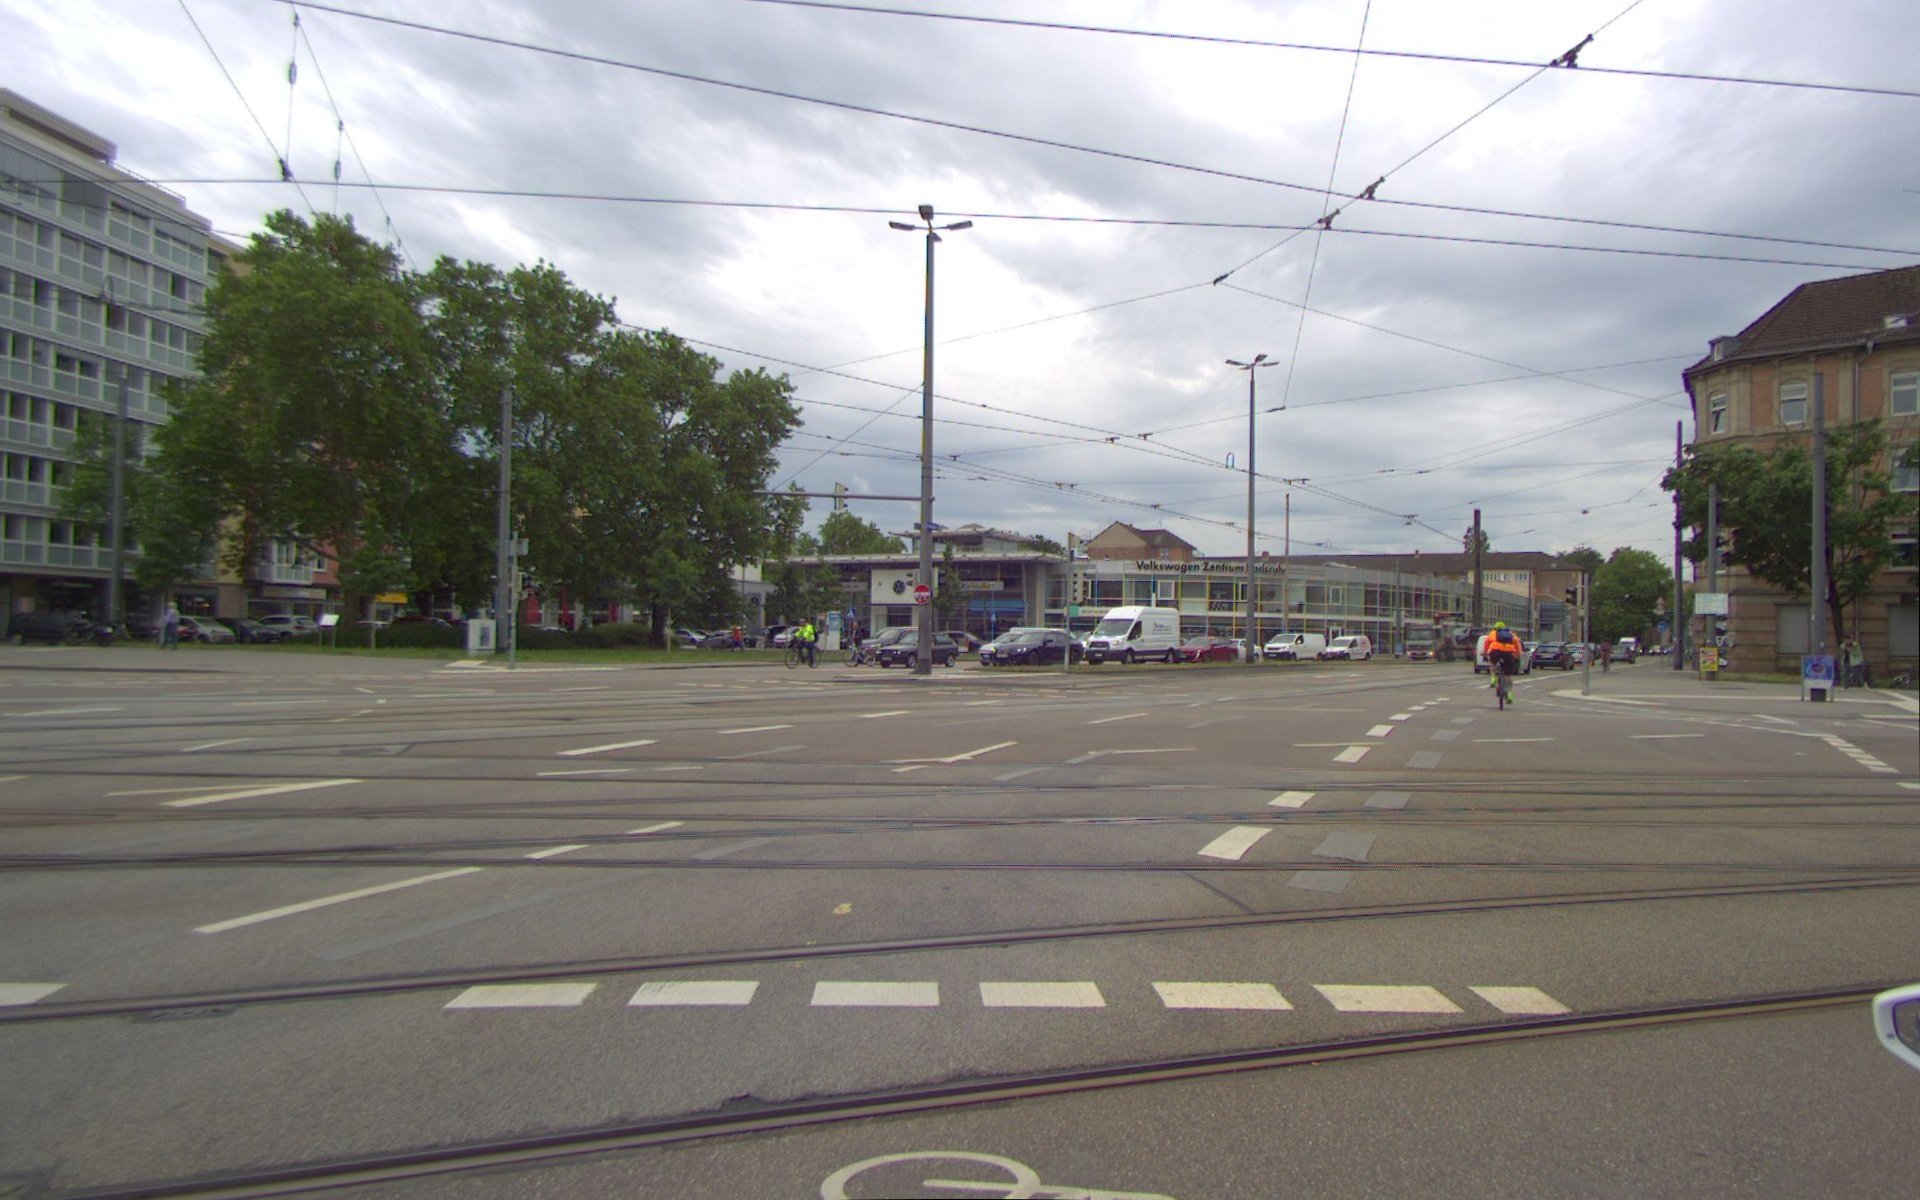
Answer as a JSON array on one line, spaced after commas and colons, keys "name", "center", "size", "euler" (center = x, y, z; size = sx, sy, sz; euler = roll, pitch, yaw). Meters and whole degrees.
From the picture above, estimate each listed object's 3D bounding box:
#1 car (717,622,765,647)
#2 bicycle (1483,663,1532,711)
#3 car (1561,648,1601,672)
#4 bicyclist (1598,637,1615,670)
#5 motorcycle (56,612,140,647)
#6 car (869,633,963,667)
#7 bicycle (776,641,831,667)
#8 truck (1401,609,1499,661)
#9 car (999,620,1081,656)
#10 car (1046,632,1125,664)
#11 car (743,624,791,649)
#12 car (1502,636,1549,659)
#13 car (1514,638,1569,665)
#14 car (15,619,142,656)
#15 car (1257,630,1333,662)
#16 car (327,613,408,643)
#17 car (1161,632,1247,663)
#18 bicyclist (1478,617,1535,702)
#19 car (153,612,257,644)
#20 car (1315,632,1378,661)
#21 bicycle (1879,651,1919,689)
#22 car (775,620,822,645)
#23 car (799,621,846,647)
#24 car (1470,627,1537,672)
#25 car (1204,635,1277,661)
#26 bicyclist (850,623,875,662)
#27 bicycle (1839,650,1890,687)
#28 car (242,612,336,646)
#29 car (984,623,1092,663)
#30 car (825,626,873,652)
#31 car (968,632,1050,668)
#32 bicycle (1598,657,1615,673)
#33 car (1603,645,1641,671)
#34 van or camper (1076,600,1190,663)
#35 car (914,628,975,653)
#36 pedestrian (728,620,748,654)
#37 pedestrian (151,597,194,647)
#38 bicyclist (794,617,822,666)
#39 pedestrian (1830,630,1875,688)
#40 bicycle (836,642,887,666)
[{"name": "car", "center": [-19.217, 3.068, 88.452], "size": [1.963, 2.040, 3.996], "euler": [2, -2, 27]}, {"name": "bicycle", "center": [11.028, 1.723, 20.281], "size": [0.547, 0.859, 2.074], "euler": [1, -2, 20]}, {"name": "car", "center": [43.662, 4.202, 70.615], "size": [1.831, 1.528, 3.982], "euler": [1, -2, 39]}, {"name": "bicyclist", "center": [34.639, 2.868, 53.792], "size": [0.677, 1.730, 0.797], "euler": [0, -2, 27]}, {"name": "motorcycle", "center": [-32.207, 1.091, 37.544], "size": [2.496, 1.194, 0.865], "euler": [2, -1, 7]}, {"name": "car", "center": [-1.671, 1.937, 39.227], "size": [1.666, 1.263, 3.722], "euler": [0, -2, 38]}, {"name": "bicycle", "center": [-5.882, 2.042, 37.950], "size": [0.513, 0.942, 2.210], "euler": [0, -2, 43]}, {"name": "truck", "center": [37.535, 2.694, 76.756], "size": [9.136, 3.596, 2.775], "euler": [3, -2, -36]}, {"name": "car", "center": [5.015, 2.401, 63.263], "size": [4.709, 2.040, 2.112], "euler": [1, -2, 40]}, {"name": "car", "center": [6.066, 2.300, 48.147], "size": [1.617, 1.439, 4.248], "euler": [0, -2, 41]}, {"name": "car", "center": [-16.708, 3.148, 87.037], "size": [1.963, 2.040, 3.996], "euler": [2, -2, 27]}, {"name": "car", "center": [47.591, 3.979, 84.495], "size": [4.485, 1.863, 1.977], "euler": [3, -2, -39]}, {"name": "car", "center": [33.030, 2.908, 57.000], "size": [1.971, 1.439, 3.980], "euler": [0, -2, 41]}, {"name": "car", "center": [-39.301, 1.667, 44.851], "size": [3.920, 1.572, 2.001], "euler": [1, -2, 3]}, {"name": "car", "center": [21.138, 2.893, 63.289], "size": [5.407, 1.881, 2.137], "euler": [3, -2, -42]}, {"name": "car", "center": [-37.847, 1.775, 64.255], "size": [3.920, 1.728, 2.001], "euler": [2, -1, 2]}, {"name": "car", "center": [12.221, 2.389, 50.191], "size": [4.770, 1.439, 1.974], "euler": [3, -2, -44]}, {"name": "bicyclist", "center": [11.061, 1.187, 20.356], "size": [0.813, 1.642, 1.322], "euler": [1, -2, 20]}, {"name": "car", "center": [-39.262, 1.446, 52.300], "size": [3.920, 1.572, 2.001], "euler": [1, -2, 3]}, {"name": "car", "center": [26.092, 3.138, 67.764], "size": [4.485, 1.863, 1.977], "euler": [3, -2, -39]}, {"name": "bicycle", "center": [36.545, 2.715, 38.845], "size": [3.093, 1.372, 0.950], "euler": [3, -2, -38]}, {"name": "car", "center": [-13.808, 2.820, 85.958], "size": [1.963, 2.040, 3.996], "euler": [2, -2, 27]}, {"name": "car", "center": [-11.565, 2.879, 84.895], "size": [1.963, 2.040, 3.996], "euler": [2, -2, 27]}, {"name": "car", "center": [25.094, 2.263, 46.344], "size": [1.890, 1.966, 4.111], "euler": [0, -2, 41]}, {"name": "car", "center": [16.549, 2.848, 59.156], "size": [4.715, 1.439, 1.976], "euler": [3, -2, -42]}, {"name": "bicyclist", "center": [-3.900, 1.677, 40.109], "size": [0.560, 1.528, 0.852], "euler": [0, -1, 43]}, {"name": "bicycle", "center": [35.763, 2.705, 39.690], "size": [3.093, 1.372, 0.950], "euler": [3, -2, -38]}, {"name": "car", "center": [-37.656, 1.609, 56.424], "size": [3.920, 1.728, 2.001], "euler": [2, -1, 2]}, {"name": "car", "center": [3.135, 1.673, 39.450], "size": [1.969, 1.439, 4.643], "euler": [0, -2, 38]}, {"name": "car", "center": [-9.197, 3.251, 83.389], "size": [1.963, 2.040, 3.996], "euler": [2, -2, 27]}, {"name": "car", "center": [2.148, 2.148, 43.207], "size": [1.615, 1.439, 3.722], "euler": [0, -2, 38]}, {"name": "bicycle", "center": [34.626, 3.448, 53.771], "size": [0.609, 0.804, 1.590], "euler": [0, -2, 27]}, {"name": "car", "center": [55.987, 4.877, 84.888], "size": [1.972, 2.040, 3.977], "euler": [1, -2, 44]}, {"name": "van or camper", "center": [7.890, 1.468, 45.299], "size": [2.386, 2.645, 6.026], "euler": [1, -2, 39]}, {"name": "car", "center": [-0.916, 2.459, 61.257], "size": [1.617, 1.439, 3.718], "euler": [0, -2, 41]}, {"name": "pedestrian", "center": [-12.878, 2.160, 58.368], "size": [0.854, 1.925, 0.702], "euler": [3, -1, -38]}, {"name": "pedestrian", "center": [-28.567, 0.807, 36.456], "size": [0.898, 1.742, 0.706], "euler": [2, -1, -6]}, {"name": "bicyclist", "center": [-5.768, 1.578, 38.072], "size": [0.621, 1.827, 0.793], "euler": [0, -2, 43]}, {"name": "pedestrian", "center": [27.940, 1.840, 31.468], "size": [0.894, 1.750, 0.602], "euler": [1, -1, 20]}, {"name": "bicycle", "center": [-3.917, 2.143, 40.102], "size": [0.513, 0.938, 2.210], "euler": [0, -2, 43]}]
